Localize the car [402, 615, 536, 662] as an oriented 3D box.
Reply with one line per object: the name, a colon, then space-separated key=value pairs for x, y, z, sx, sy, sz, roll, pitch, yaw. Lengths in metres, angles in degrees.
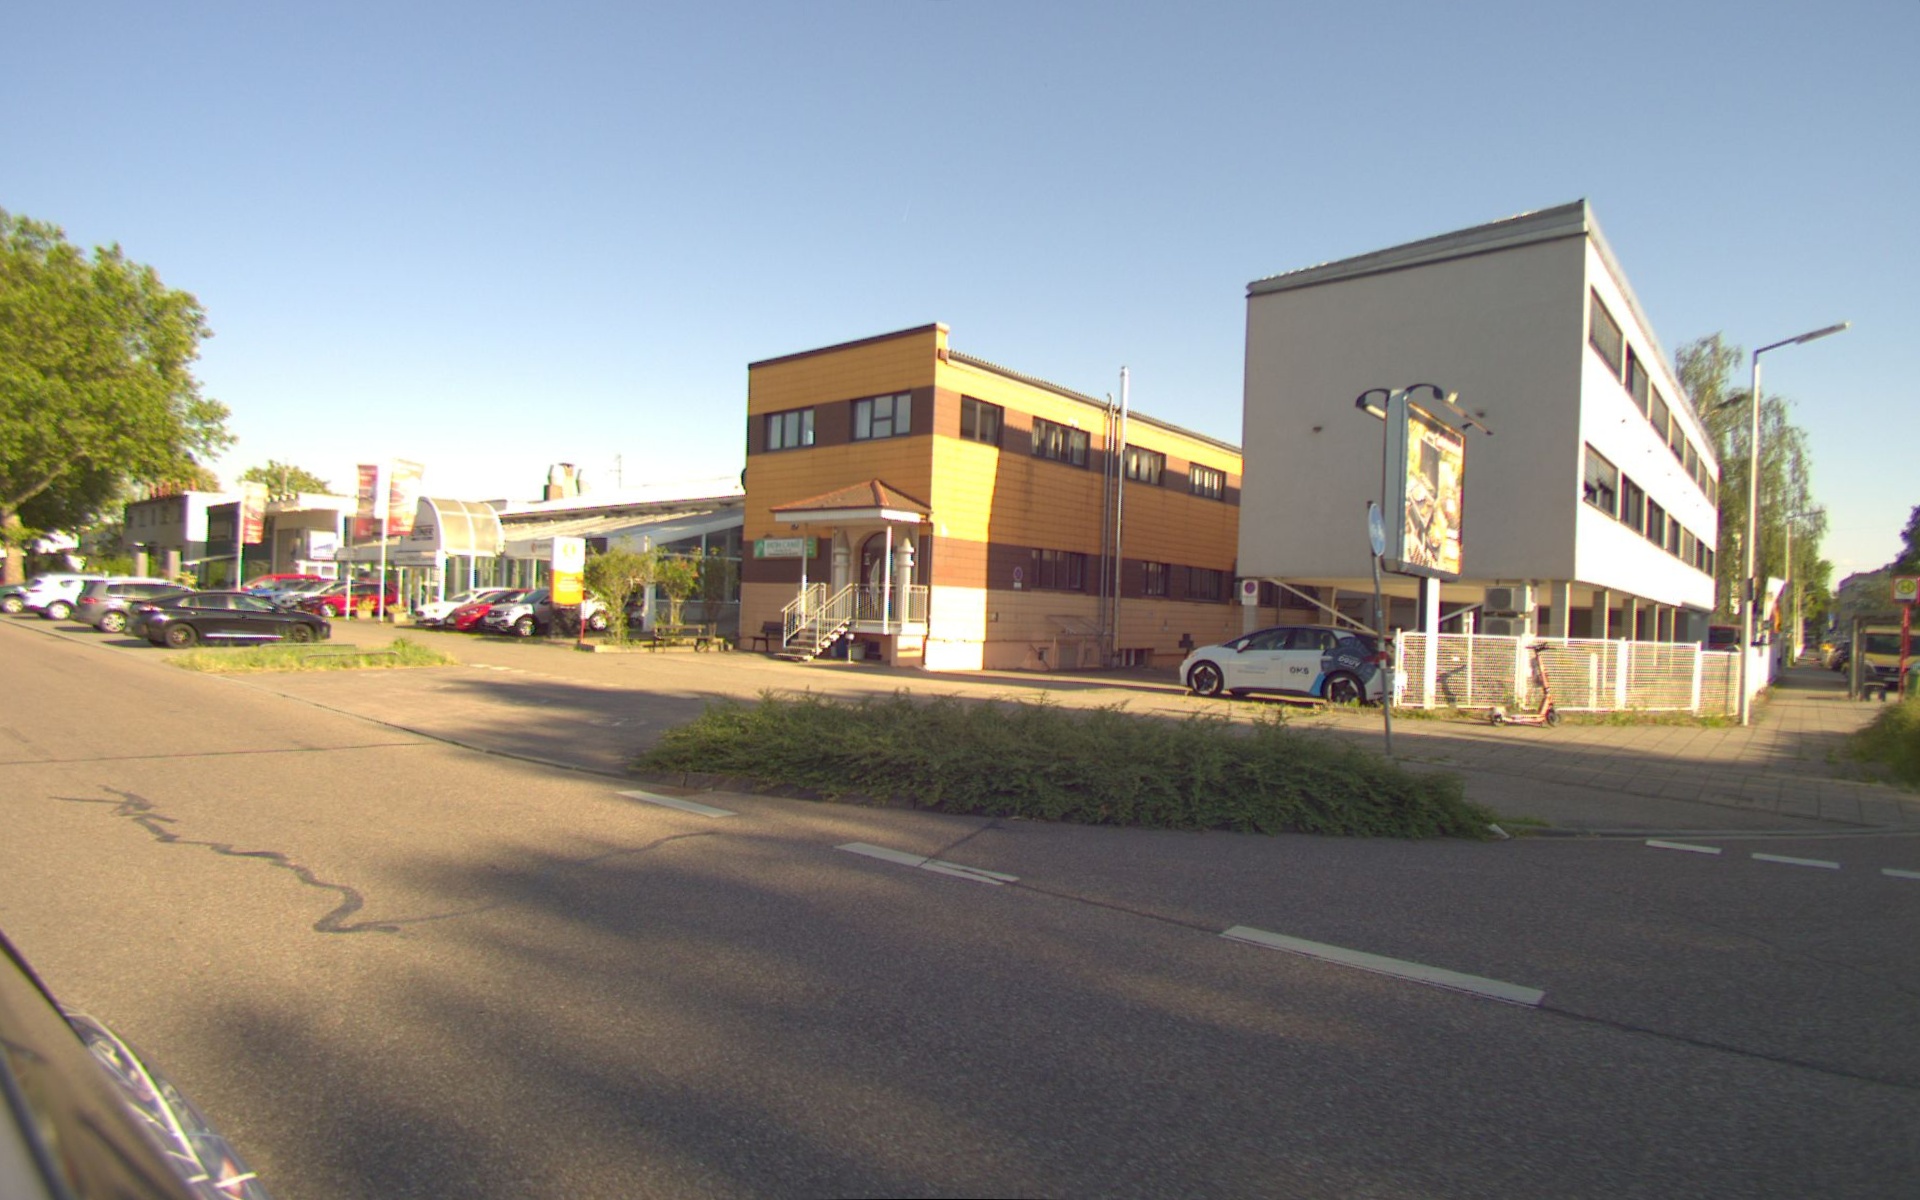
car: x=-17.838 y=1.349 z=36.881 sx=1.999 sy=1.567 sz=3.946 roll=0 pitch=0 yaw=40

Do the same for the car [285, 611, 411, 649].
car: x=-27.021 y=1.271 z=44.825 sx=1.834 sy=1.565 sz=4.420 roll=0 pitch=0 yaw=39

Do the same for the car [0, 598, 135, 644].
car: x=-39.820 y=0.895 z=44.450 sx=2.200 sy=1.913 sz=5.206 roll=1 pitch=0 yaw=40

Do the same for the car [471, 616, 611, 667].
car: x=-13.895 y=1.330 z=33.673 sx=1.887 sy=1.567 sz=3.870 roll=0 pitch=0 yaw=40

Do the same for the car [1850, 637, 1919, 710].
car: x=32.864 y=2.501 z=35.343 sx=2.240 sy=2.278 sz=5.011 roll=0 pitch=0 yaw=37

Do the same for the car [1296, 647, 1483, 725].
car: x=10.890 y=2.122 z=25.794 sx=3.998 sy=1.630 sz=1.973 roll=0 pitch=0 yaw=41

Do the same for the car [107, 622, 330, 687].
car: x=-19.272 y=1.345 z=26.468 sx=2.199 sy=1.471 sz=4.272 roll=1 pitch=0 yaw=38

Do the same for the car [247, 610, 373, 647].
car: x=-30.894 y=1.320 z=48.237 sx=1.998 sy=1.655 sz=4.672 roll=0 pitch=0 yaw=39

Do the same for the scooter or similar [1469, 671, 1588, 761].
scooter or similar: x=8.137 y=1.652 z=14.515 sx=1.368 sy=1.209 sz=0.626 roll=1 pitch=0 yaw=-5

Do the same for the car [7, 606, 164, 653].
car: x=-33.693 y=1.096 z=39.084 sx=2.199 sy=1.668 sz=4.262 roll=1 pitch=0 yaw=38

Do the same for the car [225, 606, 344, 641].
car: x=-34.363 y=1.162 z=51.568 sx=1.998 sy=1.646 sz=4.667 roll=0 pitch=0 yaw=39

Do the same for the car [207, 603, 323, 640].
car: x=-36.576 y=1.119 z=53.350 sx=1.998 sy=1.833 sz=4.699 roll=0 pitch=0 yaw=39

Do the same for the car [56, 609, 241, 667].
car: x=-25.641 y=1.147 z=32.083 sx=2.199 sy=1.668 sz=4.191 roll=1 pitch=0 yaw=38

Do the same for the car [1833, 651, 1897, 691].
car: x=48.066 y=3.724 z=53.824 sx=2.089 sy=1.785 sz=4.899 roll=0 pitch=0 yaw=37

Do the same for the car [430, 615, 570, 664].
car: x=-15.921 y=1.312 z=35.141 sx=1.999 sy=1.567 sz=3.946 roll=0 pitch=0 yaw=40

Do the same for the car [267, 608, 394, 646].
car: x=-28.979 y=1.208 z=46.718 sx=1.926 sy=1.604 sz=4.615 roll=0 pitch=0 yaw=39

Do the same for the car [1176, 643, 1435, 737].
car: x=6.658 y=1.670 z=19.771 sx=4.337 sy=1.589 sz=1.973 roll=-3 pitch=-2 yaw=41

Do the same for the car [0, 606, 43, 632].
car: x=-56.123 y=1.114 z=58.593 sx=1.999 sy=1.457 sz=4.253 roll=1 pitch=0 yaw=40

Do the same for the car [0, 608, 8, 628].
car: x=-71.049 y=1.276 z=72.073 sx=1.998 sy=1.433 sz=4.553 roll=-1 pitch=-2 yaw=40
